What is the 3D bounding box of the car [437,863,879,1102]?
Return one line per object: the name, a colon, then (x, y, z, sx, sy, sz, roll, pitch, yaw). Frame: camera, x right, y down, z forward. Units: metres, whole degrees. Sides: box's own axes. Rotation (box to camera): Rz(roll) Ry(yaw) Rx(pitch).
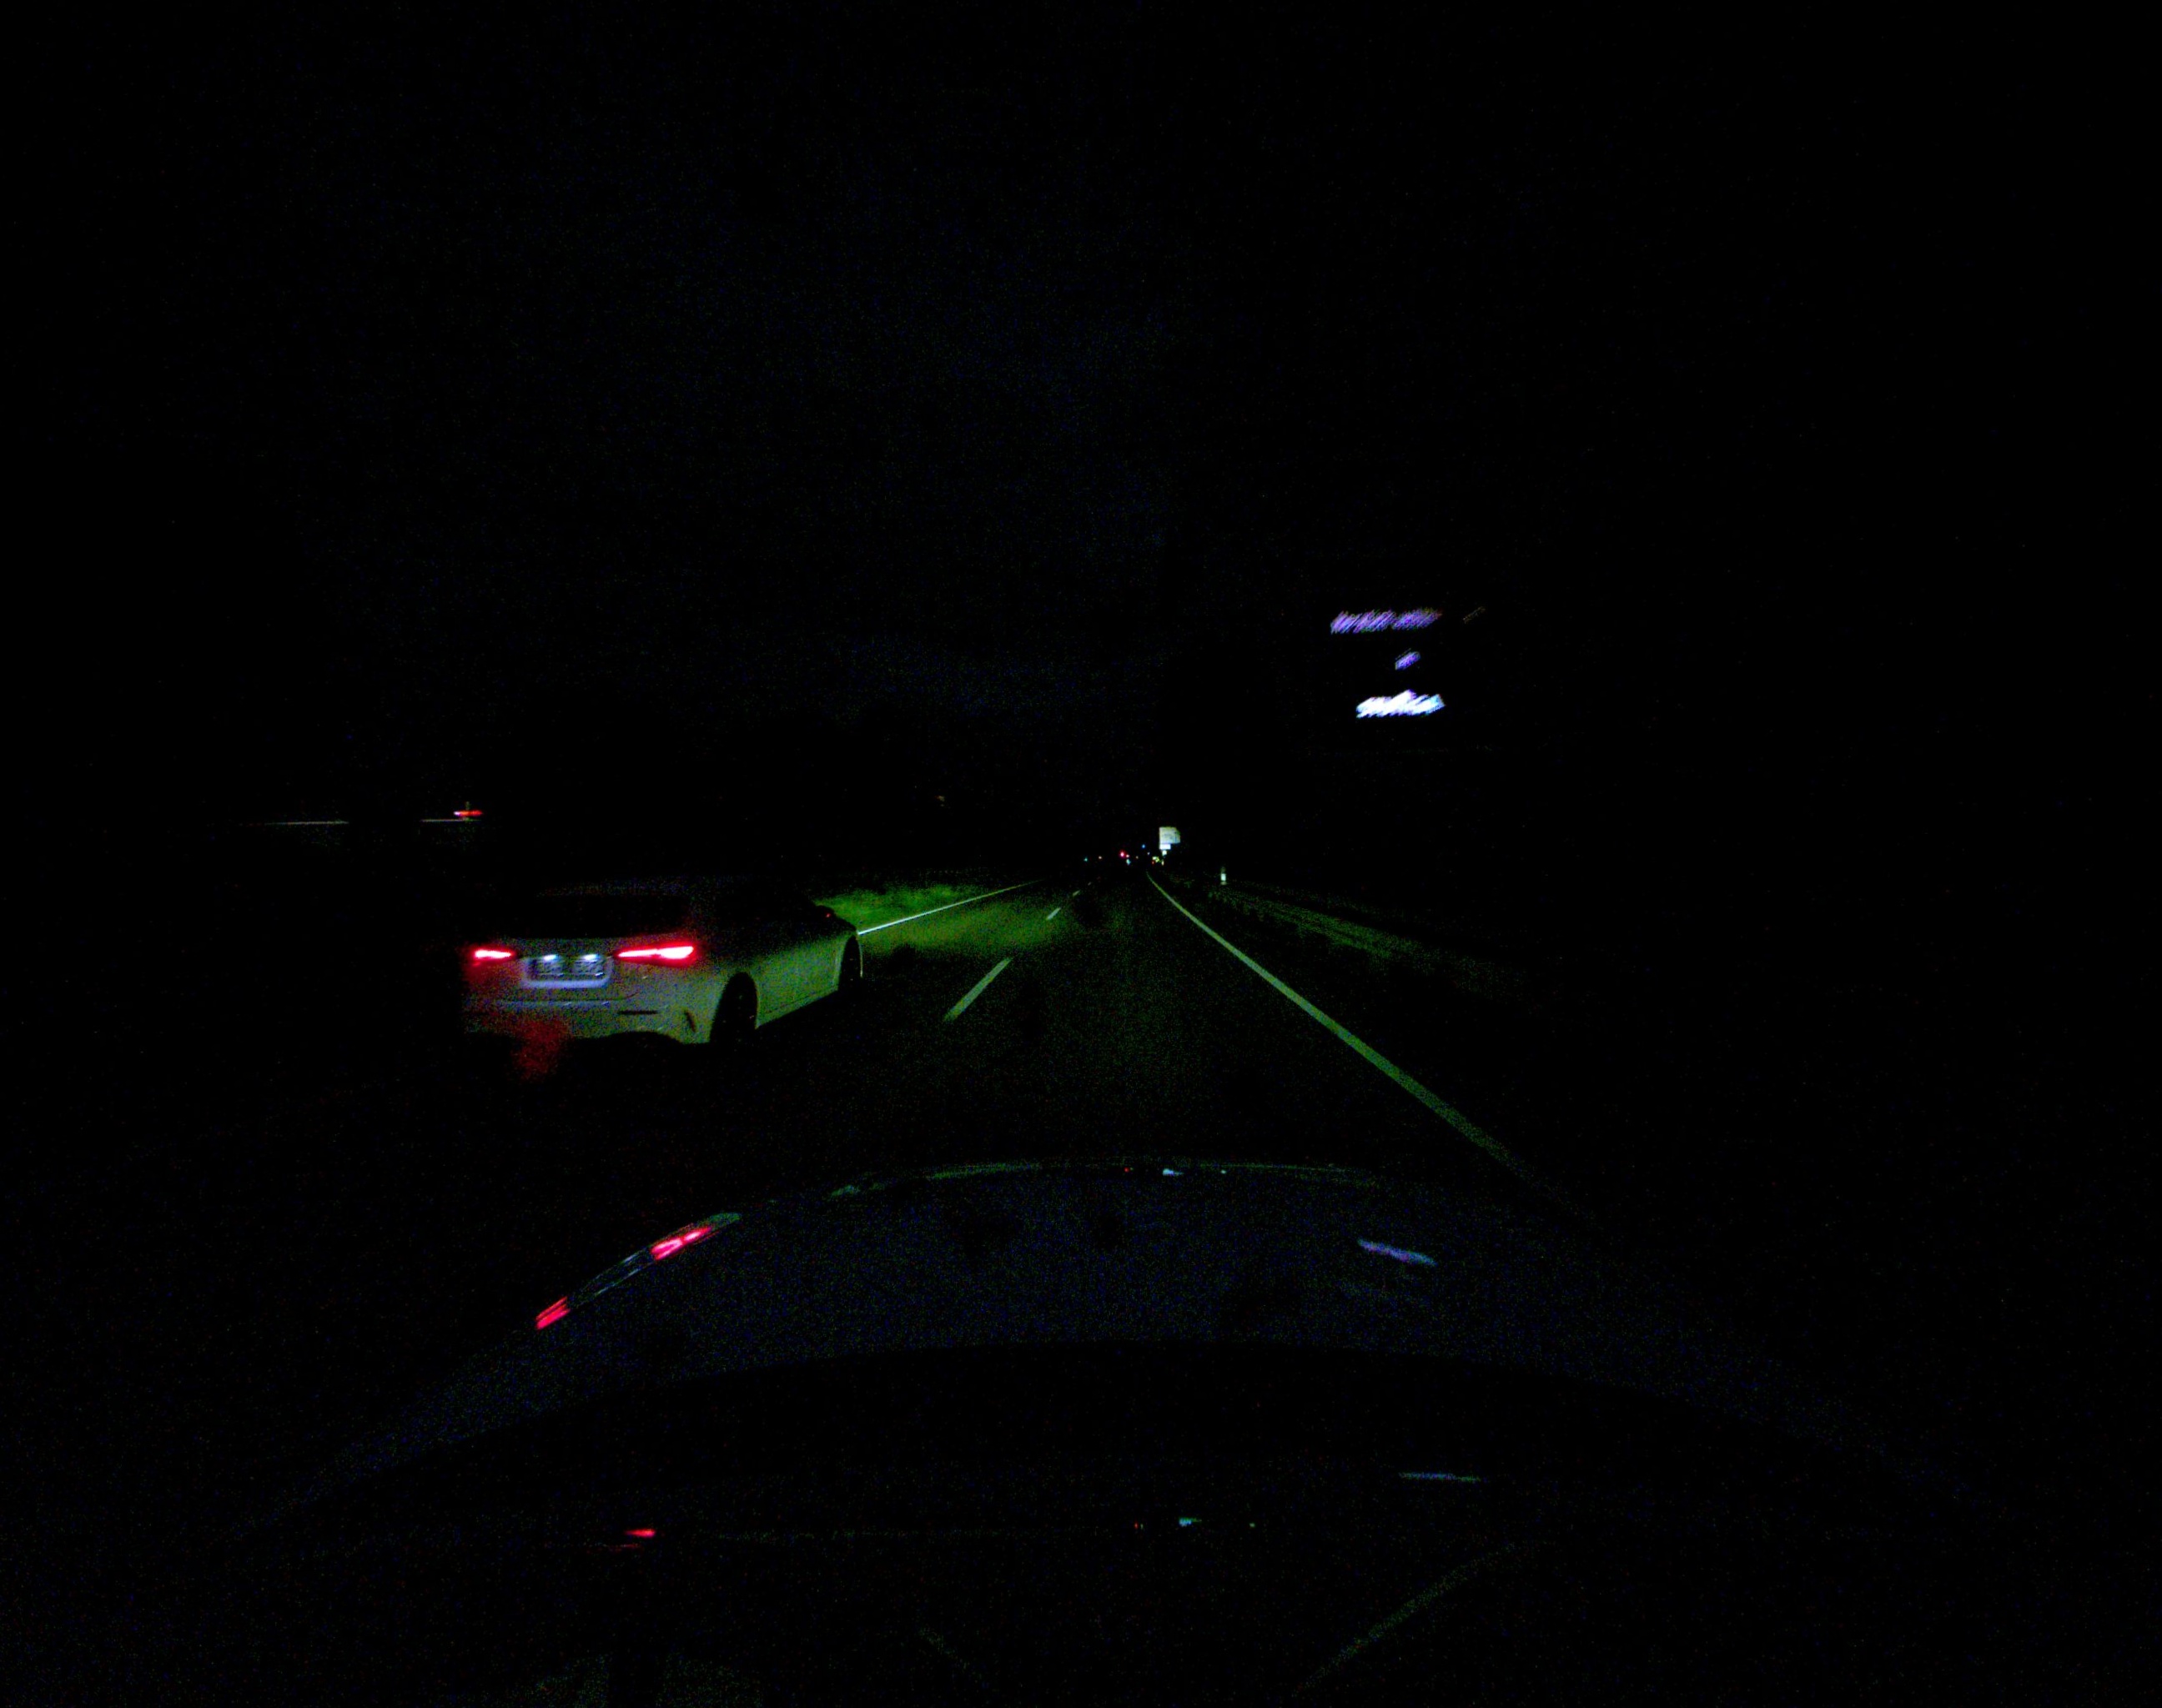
car: (-3.293, 0.853, 7.536, 1.636, 1.490, 4.580, -1, 0, 1)
